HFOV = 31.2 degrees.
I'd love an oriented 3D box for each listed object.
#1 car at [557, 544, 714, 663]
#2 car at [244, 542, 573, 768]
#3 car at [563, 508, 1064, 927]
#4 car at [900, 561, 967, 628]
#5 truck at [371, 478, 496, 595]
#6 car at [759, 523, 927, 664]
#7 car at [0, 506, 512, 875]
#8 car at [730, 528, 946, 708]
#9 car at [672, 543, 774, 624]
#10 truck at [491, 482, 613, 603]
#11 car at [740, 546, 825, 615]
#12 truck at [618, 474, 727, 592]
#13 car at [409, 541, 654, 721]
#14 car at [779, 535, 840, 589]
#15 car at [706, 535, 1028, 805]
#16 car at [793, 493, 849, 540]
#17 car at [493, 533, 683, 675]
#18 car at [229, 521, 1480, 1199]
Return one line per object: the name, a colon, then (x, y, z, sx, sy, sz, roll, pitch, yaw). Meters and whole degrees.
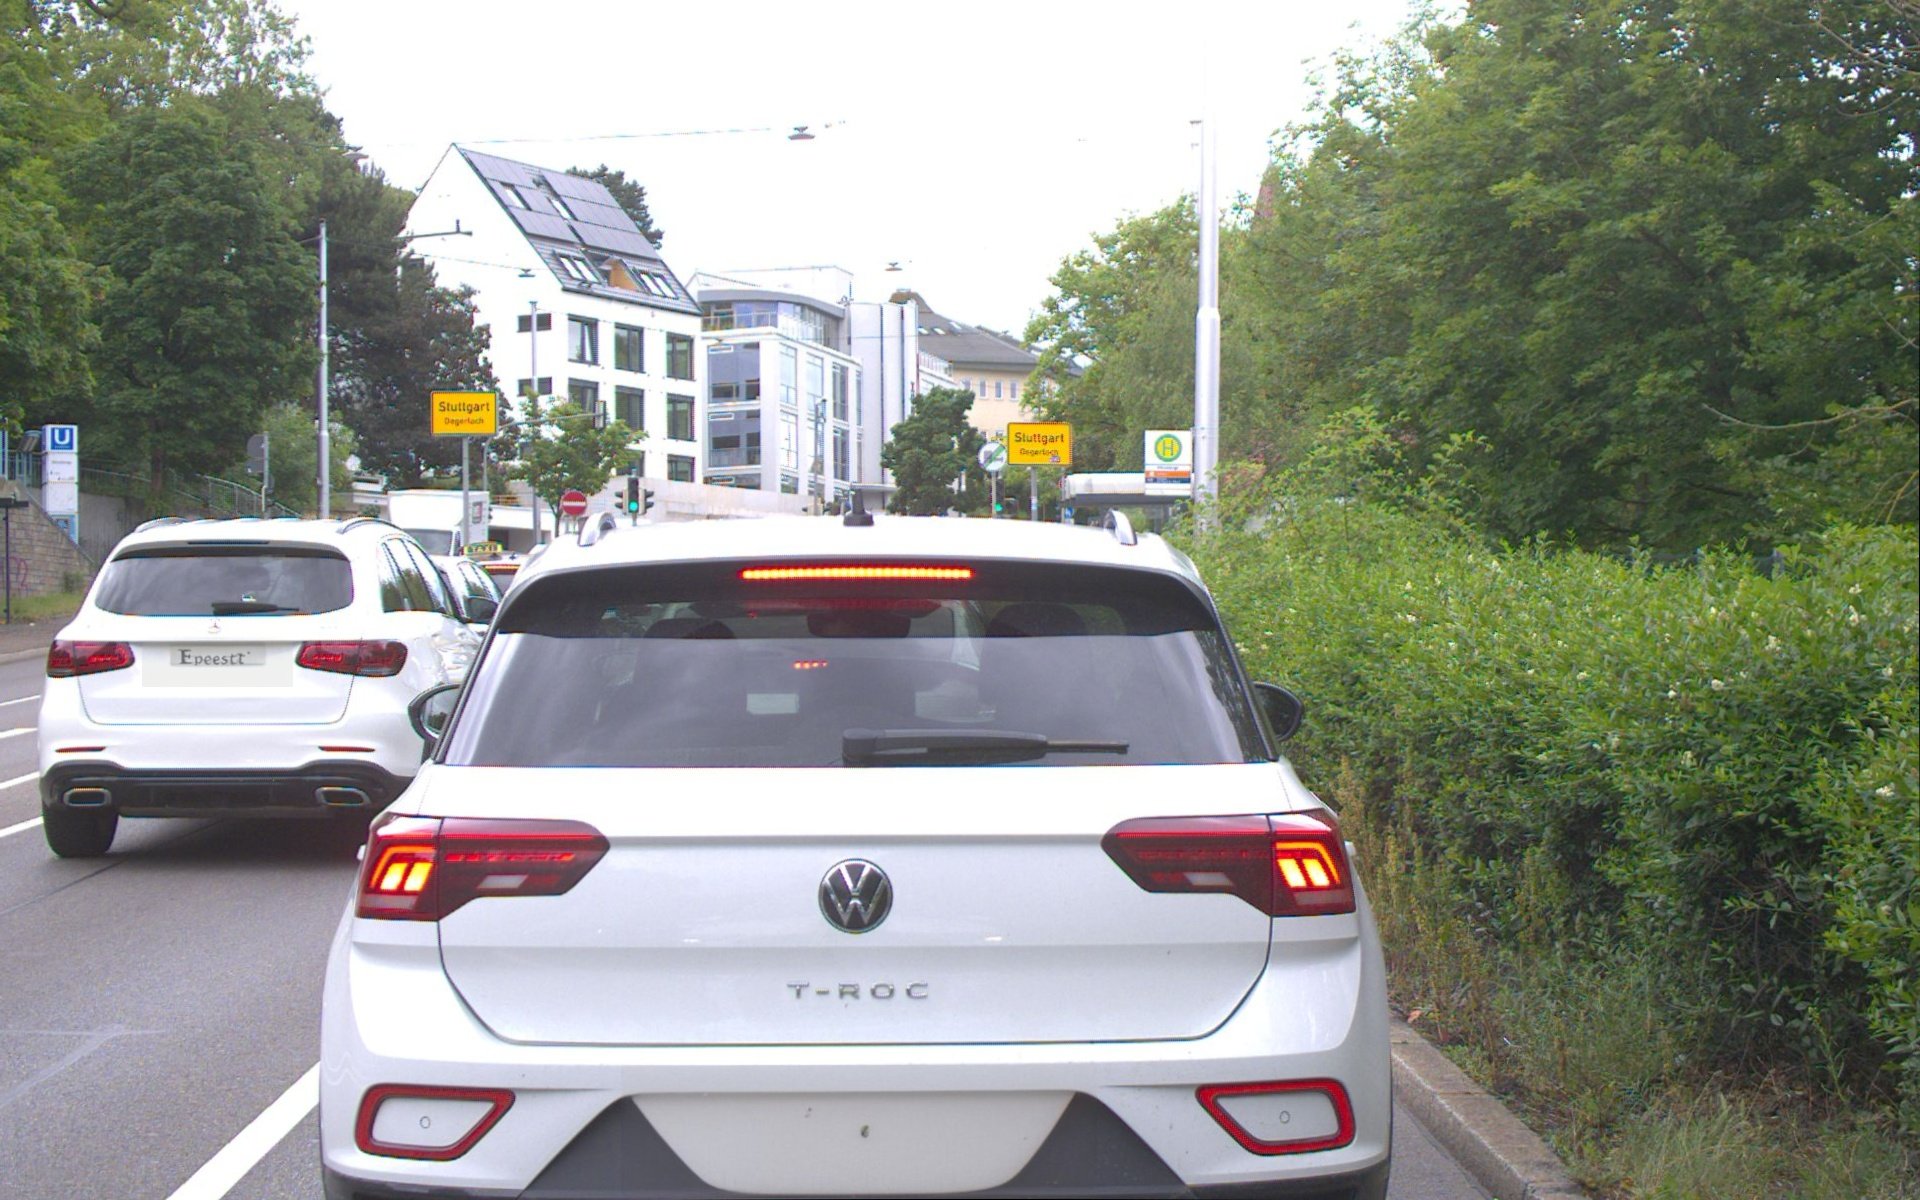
car: (-4.373, 0.017, 46.853, 1.829, 1.520, 4.000, -1, 1, -1)
car: (-3.942, 0.337, 25.174, 1.829, 1.492, 4.000, -1, 1, -1)
car: (-0.591, 0.403, 14.751, 1.829, 1.520, 4.000, -1, 1, -1)
car: (-0.813, -0.155, 107.095, 1.993, 2.007, 4.000, -1, 0, 0)
truck: (-14.381, -1.721, 94.341, 2.293, 3.040, 6.979, -1, 1, 0)
car: (-1.343, -0.107, 39.914, 1.829, 1.520, 4.000, -1, 1, -1)
car: (-3.468, 0.380, 17.597, 1.918, 1.664, 4.000, 0, 1, -1)
car: (-1.101, 0.125, 31.648, 1.829, 1.520, 4.000, -1, 1, -1)
car: (-4.684, -0.348, 68.395, 1.829, 1.520, 4.000, -1, 1, -1)
truck: (-9.561, -1.349, 80.885, 2.362, 2.697, 4.478, -2, 1, -1)
car: (-4.091, -0.468, 79.570, 1.829, 1.520, 4.000, -1, 1, -1)
truck: (-7.122, -1.665, 85.471, 2.362, 2.772, 4.478, -2, 1, -1)
car: (-3.881, 0.233, 31.693, 1.829, 1.520, 4.000, -1, 1, -1)
car: (-4.766, -1.224, 109.247, 1.815, 1.651, 3.929, -2, 1, -1)
car: (-0.584, 0.367, 21.787, 1.829, 1.520, 4.000, -1, 1, -1)
car: (-4.720, -2.833, 117.003, 1.829, 1.520, 4.000, -1, 1, -1)
car: (-4.242, 0.009, 39.751, 1.829, 1.520, 4.000, -1, 1, -1)
car: (-0.199, 0.617, 7.047, 1.829, 1.520, 4.000, 0, 1, -1)
